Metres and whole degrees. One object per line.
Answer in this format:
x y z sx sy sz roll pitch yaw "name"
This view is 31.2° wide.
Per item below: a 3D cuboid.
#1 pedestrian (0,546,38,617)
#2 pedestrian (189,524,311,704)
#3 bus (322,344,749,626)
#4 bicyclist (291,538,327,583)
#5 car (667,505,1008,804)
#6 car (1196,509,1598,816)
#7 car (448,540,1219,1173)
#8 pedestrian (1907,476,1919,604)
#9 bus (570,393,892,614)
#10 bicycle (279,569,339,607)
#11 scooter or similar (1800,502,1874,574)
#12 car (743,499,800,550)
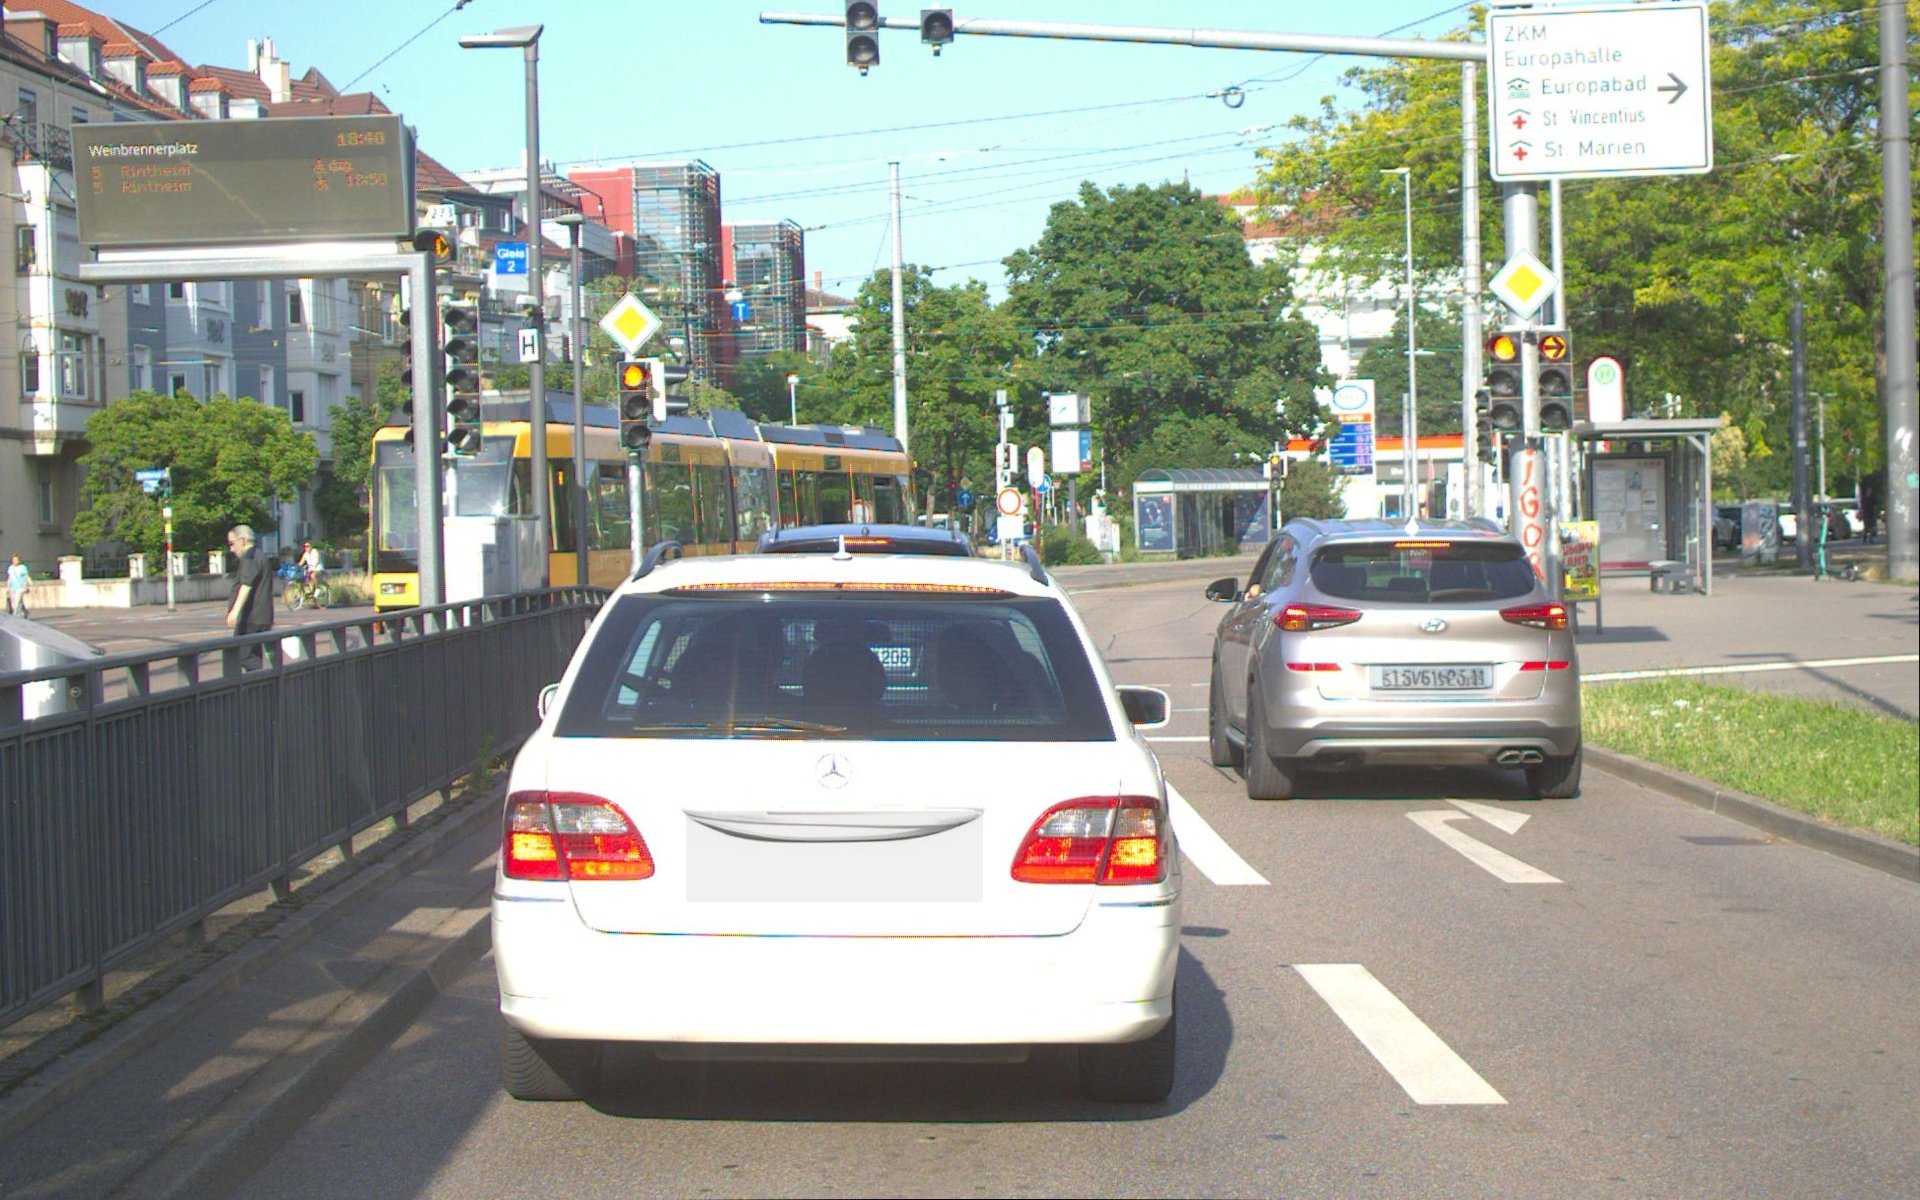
-20.879 -0.416 76.226 0.629 1.536 0.711 -1 1 -1 "pedestrian"
-6.624 0.120 32.087 0.792 1.639 0.757 -2 1 -44 "pedestrian"
-5.853 -1.537 50.375 3.109 3.593 12.371 1 1 8 "bus"
-15.356 -0.934 81.137 0.513 1.041 0.679 -1 1 24 "bicyclist"
-0.706 0.272 21.077 1.885 1.645 3.648 1 1 -1 "car"
2.538 0.307 20.787 1.885 1.645 3.648 -2 1 -1 "car"
-0.316 0.570 9.851 1.796 1.465 3.648 0 1 -1 "car"
12.663 -0.773 43.838 0.752 1.631 0.808 -2 1 -40 "pedestrian"
-3.897 -1.639 62.725 3.110 3.593 12.586 1 1 9 "bus"
-15.354 -0.287 81.101 0.526 0.831 1.684 -1 1 23 "bicycle"
13.837 -0.970 54.264 0.419 1.113 1.330 -2 1 -20 "scooter or similar"
-7.613 -3.029 138.929 2.075 2.007 4.163 1 1 0 "car"
